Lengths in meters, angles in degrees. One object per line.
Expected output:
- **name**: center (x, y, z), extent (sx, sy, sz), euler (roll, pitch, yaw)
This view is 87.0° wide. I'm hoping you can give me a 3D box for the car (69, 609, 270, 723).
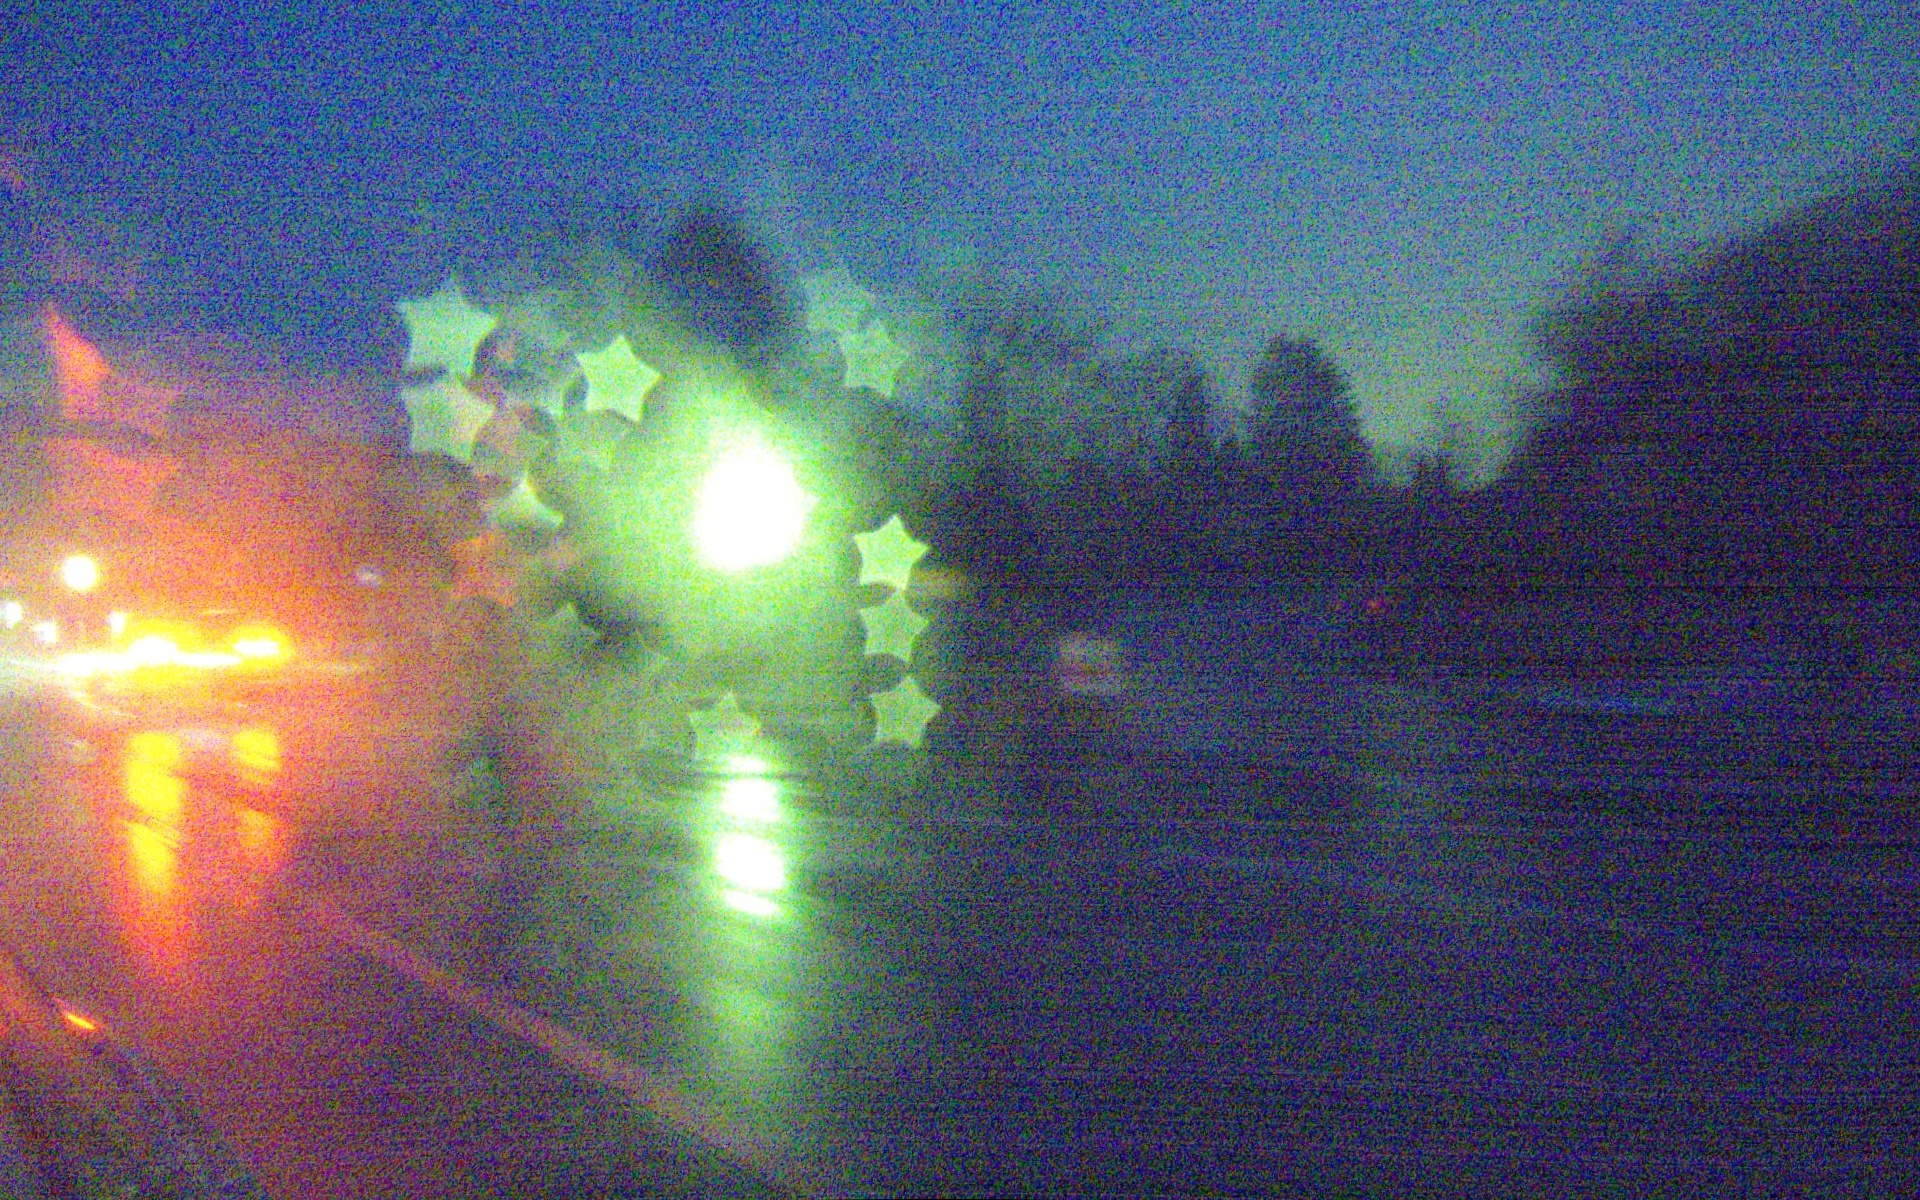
- **car**: center (-12.927, 0.984, 16.471), extent (3.996, 1.634, 1.790), euler (-1, -1, 40)
